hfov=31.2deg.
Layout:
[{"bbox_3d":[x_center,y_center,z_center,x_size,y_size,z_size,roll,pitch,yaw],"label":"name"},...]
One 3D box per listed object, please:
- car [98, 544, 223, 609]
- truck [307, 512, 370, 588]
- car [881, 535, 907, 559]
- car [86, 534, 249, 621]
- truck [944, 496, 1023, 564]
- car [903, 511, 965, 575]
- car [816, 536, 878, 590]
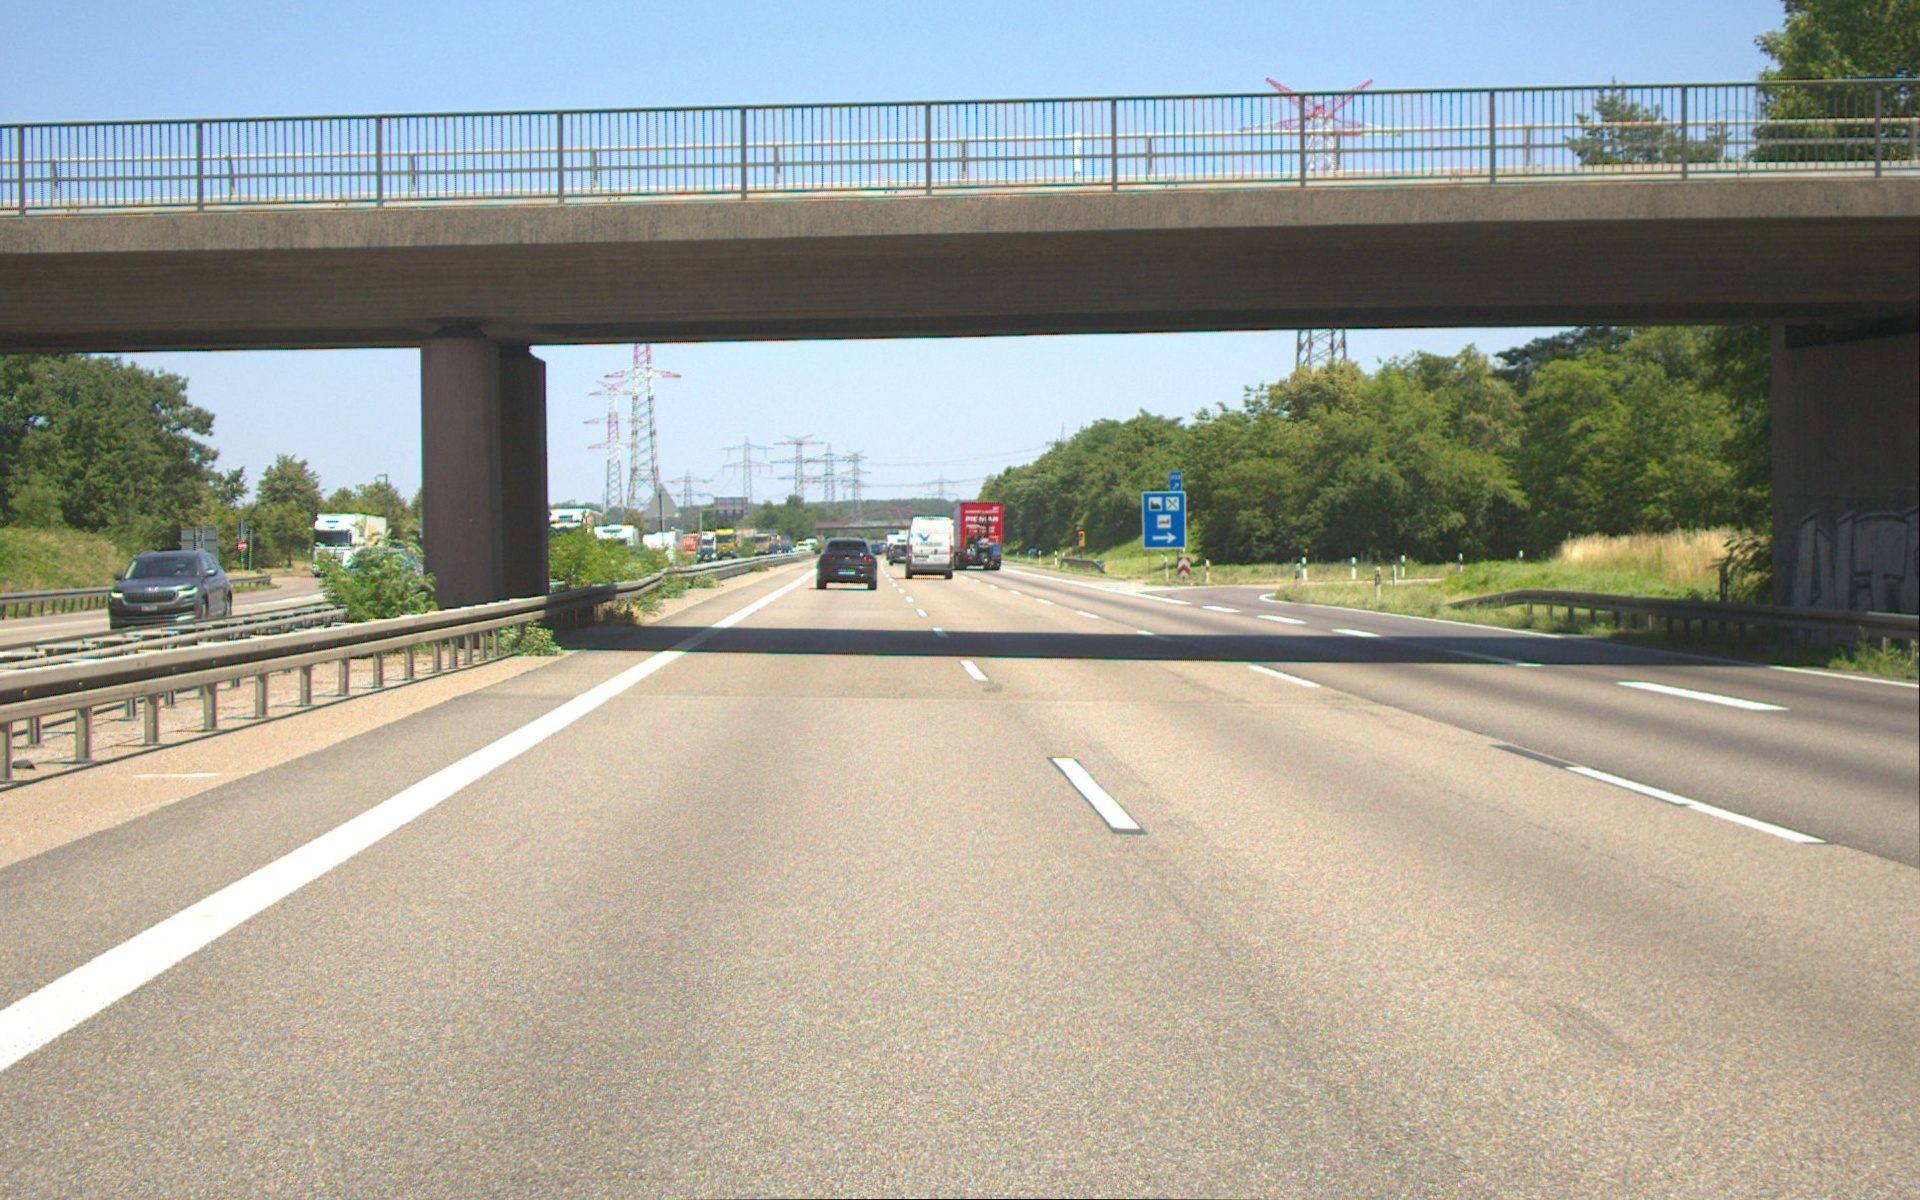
[{"bbox_3d":[-21.121,-0.649,90.973,2.227,1.605,5.060,-2,1,-2],"label":"car"},{"bbox_3d":[-41.016,-3.343,227.171,3.070,4.811,7.717,-3,1,-4],"label":"truck"},{"bbox_3d":[-4.651,-3.698,241.406,1.747,1.628,4.004,1,1,-2],"label":"car"},{"bbox_3d":[-15.936,-0.478,69.380,2.227,1.605,5.060,-2,1,-2],"label":"car"},{"bbox_3d":[1.354,-4.264,210.575,4.331,3.928,16.078,1,1,-1],"label":"truck"},{"bbox_3d":[-1.224,-2.584,155.505,2.621,2.749,6.097,1,1,-2],"label":"car"},{"bbox_3d":[-3.788,-1.253,114.850,1.993,1.744,4.000,1,1,-2],"label":"car"}]
